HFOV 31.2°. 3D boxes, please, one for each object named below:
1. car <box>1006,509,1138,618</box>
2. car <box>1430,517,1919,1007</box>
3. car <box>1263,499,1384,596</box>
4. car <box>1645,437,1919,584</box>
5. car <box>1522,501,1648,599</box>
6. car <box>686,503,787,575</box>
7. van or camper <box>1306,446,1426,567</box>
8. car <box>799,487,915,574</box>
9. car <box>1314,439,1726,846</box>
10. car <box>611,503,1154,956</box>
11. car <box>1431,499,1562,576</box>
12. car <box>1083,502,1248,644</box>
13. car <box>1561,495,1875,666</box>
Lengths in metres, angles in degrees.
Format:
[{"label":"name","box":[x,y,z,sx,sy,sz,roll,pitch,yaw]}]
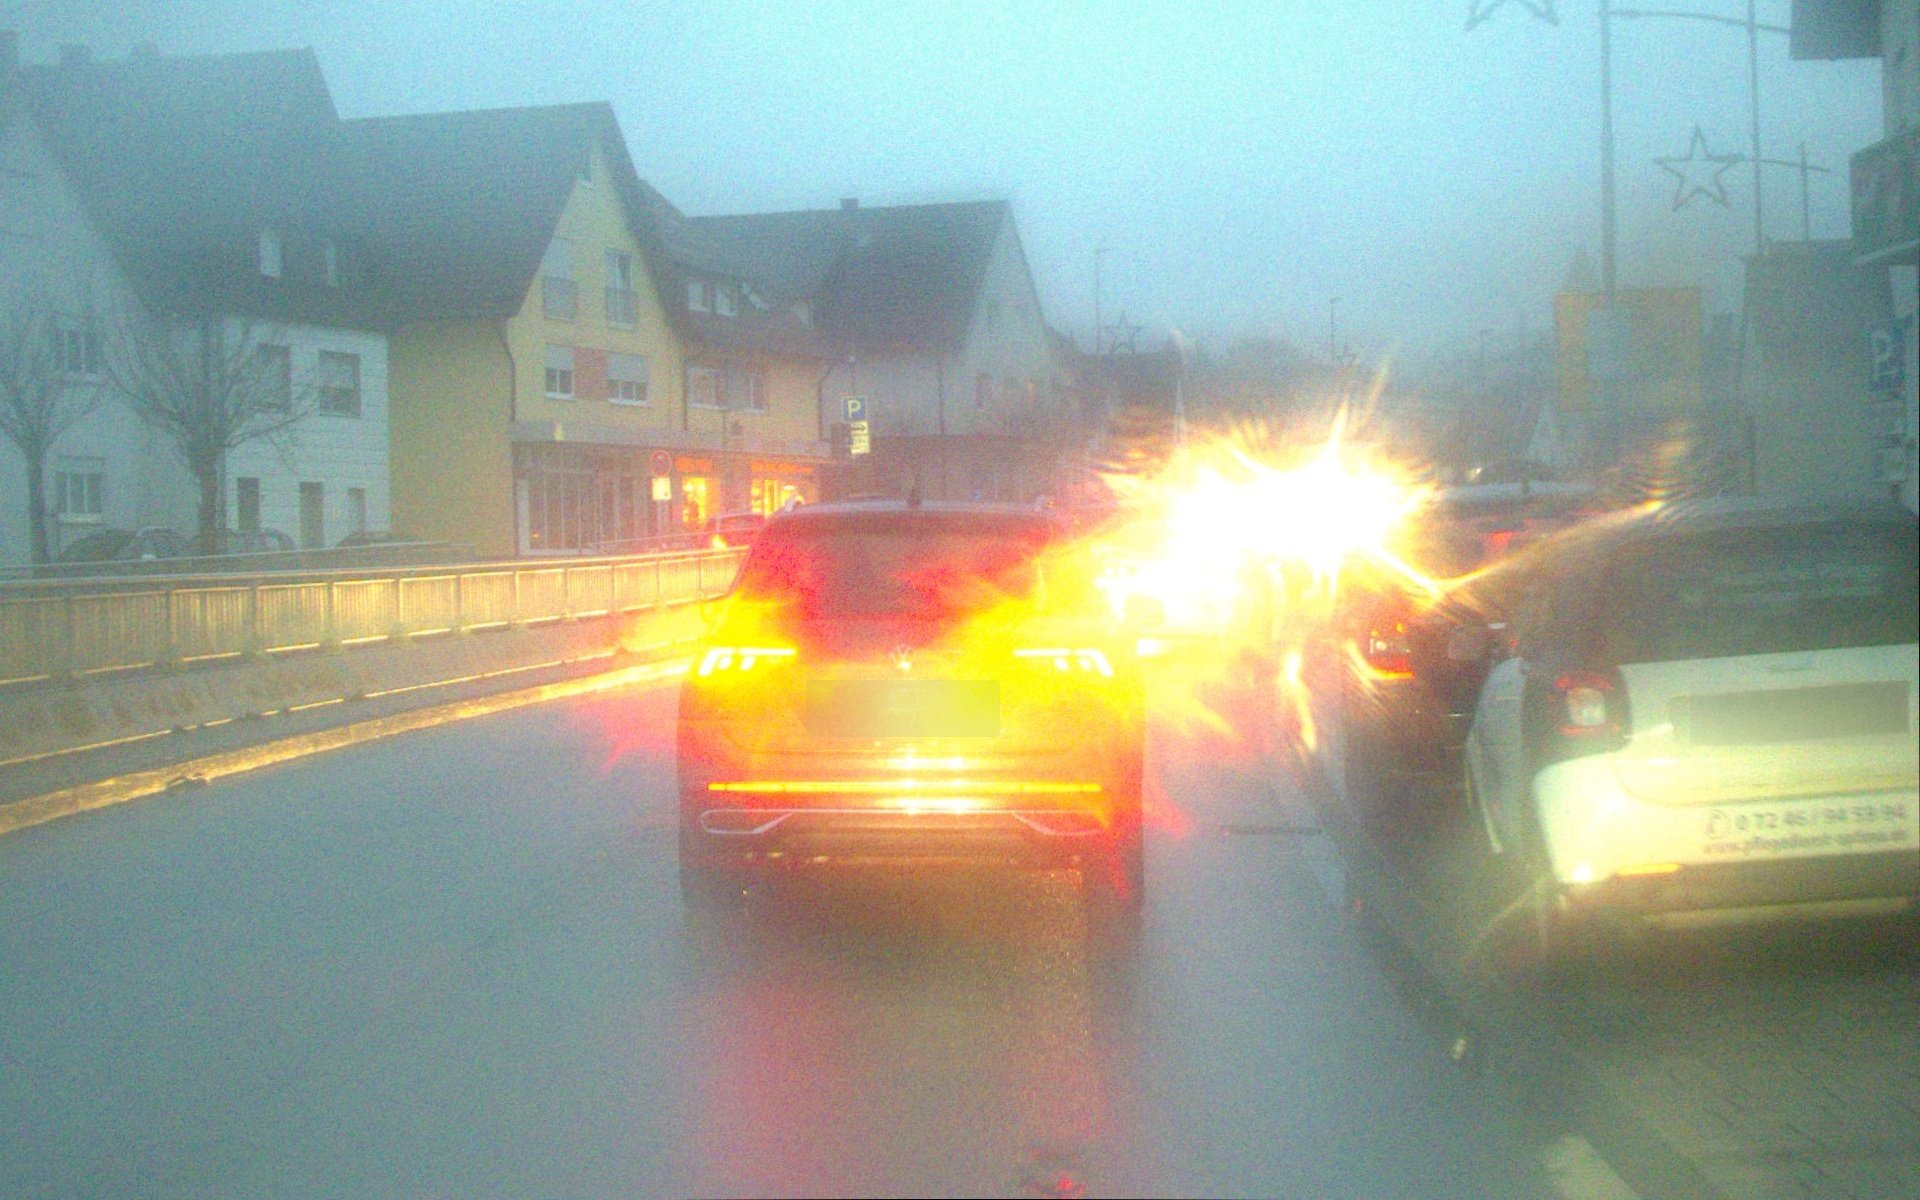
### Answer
[{"label":"car","box":[1.784,-0.590,53.759,1.663,1.630,3.550,0,2,8]},{"label":"car","box":[2.664,0.474,12.063,1.645,1.410,2.727,-3,2,2]},{"label":"car","box":[5.757,-0.857,54.222,1.815,1.407,3.999,0,2,7]},{"label":"car","box":[12.485,-1.356,51.307,4.177,1.633,1.803,-8,1,9]},{"label":"car","box":[14.180,-1.155,77.815,2.159,1.984,4.496,-4,1,17]},{"label":"car","box":[-5.291,-1.465,81.036,1.821,1.607,4.058,-2,2,-11]},{"label":"van or camper","box":[9.544,-2.208,80.380,2.241,2.660,6.553,-1,2,11]},{"label":"car","box":[-2.441,-1.641,80.405,2.037,1.919,4.058,-2,2,-11]},{"label":"car","box":[2.787,0.146,17.869,1.770,1.776,3.999,-4,1,6]},{"label":"car","box":[-0.374,0.408,14.621,1.964,1.589,4.314,0,2,-3]},{"label":"car","box":[10.467,-1.237,66.828,1.995,1.387,3.997,-1,2,16]},{"label":"car","box":[2.207,-0.306,37.323,1.682,1.448,4.000,0,1,3]},{"label":"car","box":[6.907,-0.212,31.708,1.765,1.389,3.915,-3,1,-3]}]
